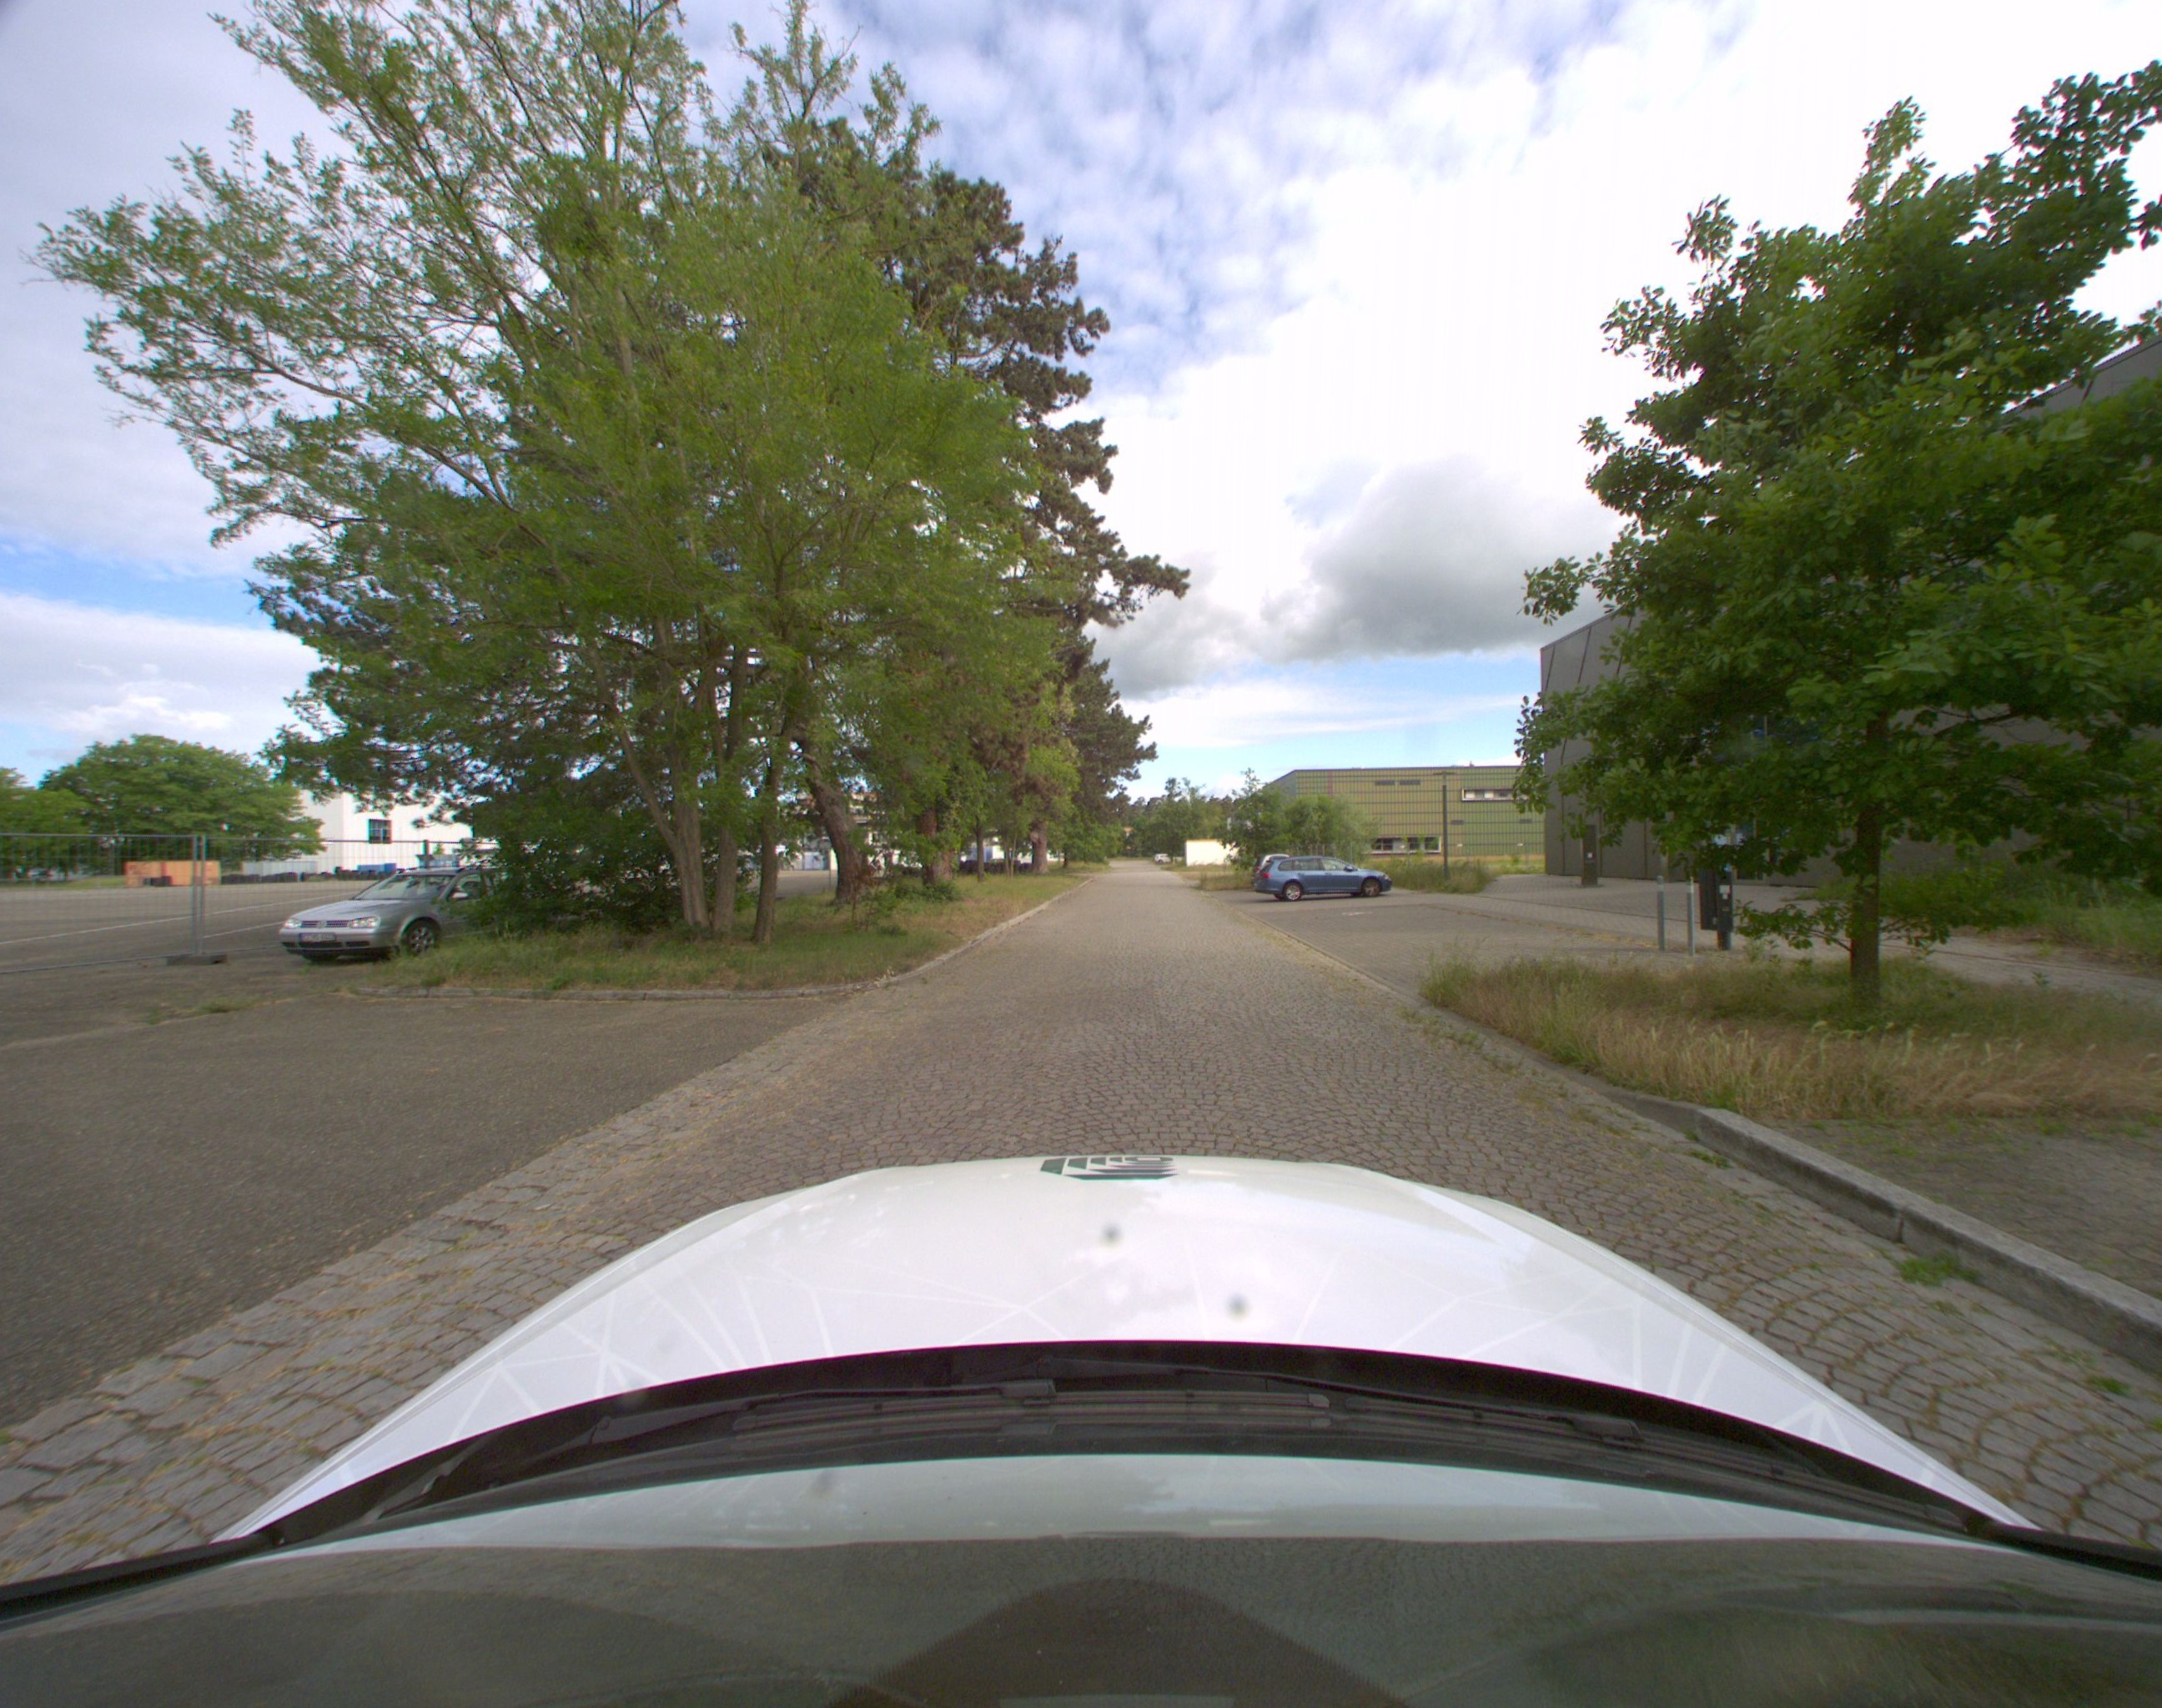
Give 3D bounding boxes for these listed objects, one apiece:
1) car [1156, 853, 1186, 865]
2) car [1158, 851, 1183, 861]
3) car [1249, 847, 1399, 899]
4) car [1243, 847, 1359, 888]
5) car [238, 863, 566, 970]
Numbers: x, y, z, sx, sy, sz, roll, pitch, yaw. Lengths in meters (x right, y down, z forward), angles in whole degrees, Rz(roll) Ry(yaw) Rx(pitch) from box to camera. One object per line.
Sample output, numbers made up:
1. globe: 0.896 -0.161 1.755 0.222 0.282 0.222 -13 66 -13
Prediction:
1. car: 13.357 0.767 121.349 4.337 1.687 1.926 -1 0 2
2. car: 15.621 0.376 142.274 4.334 1.780 1.928 -1 0 4
3. car: 8.199 0.626 27.837 4.503 1.531 2.000 -2 0 0
4. car: 9.410 0.578 35.147 4.497 1.531 2.002 -2 0 4
5. car: -11.273 0.938 14.041 1.912 1.477 4.370 -1 0 1
